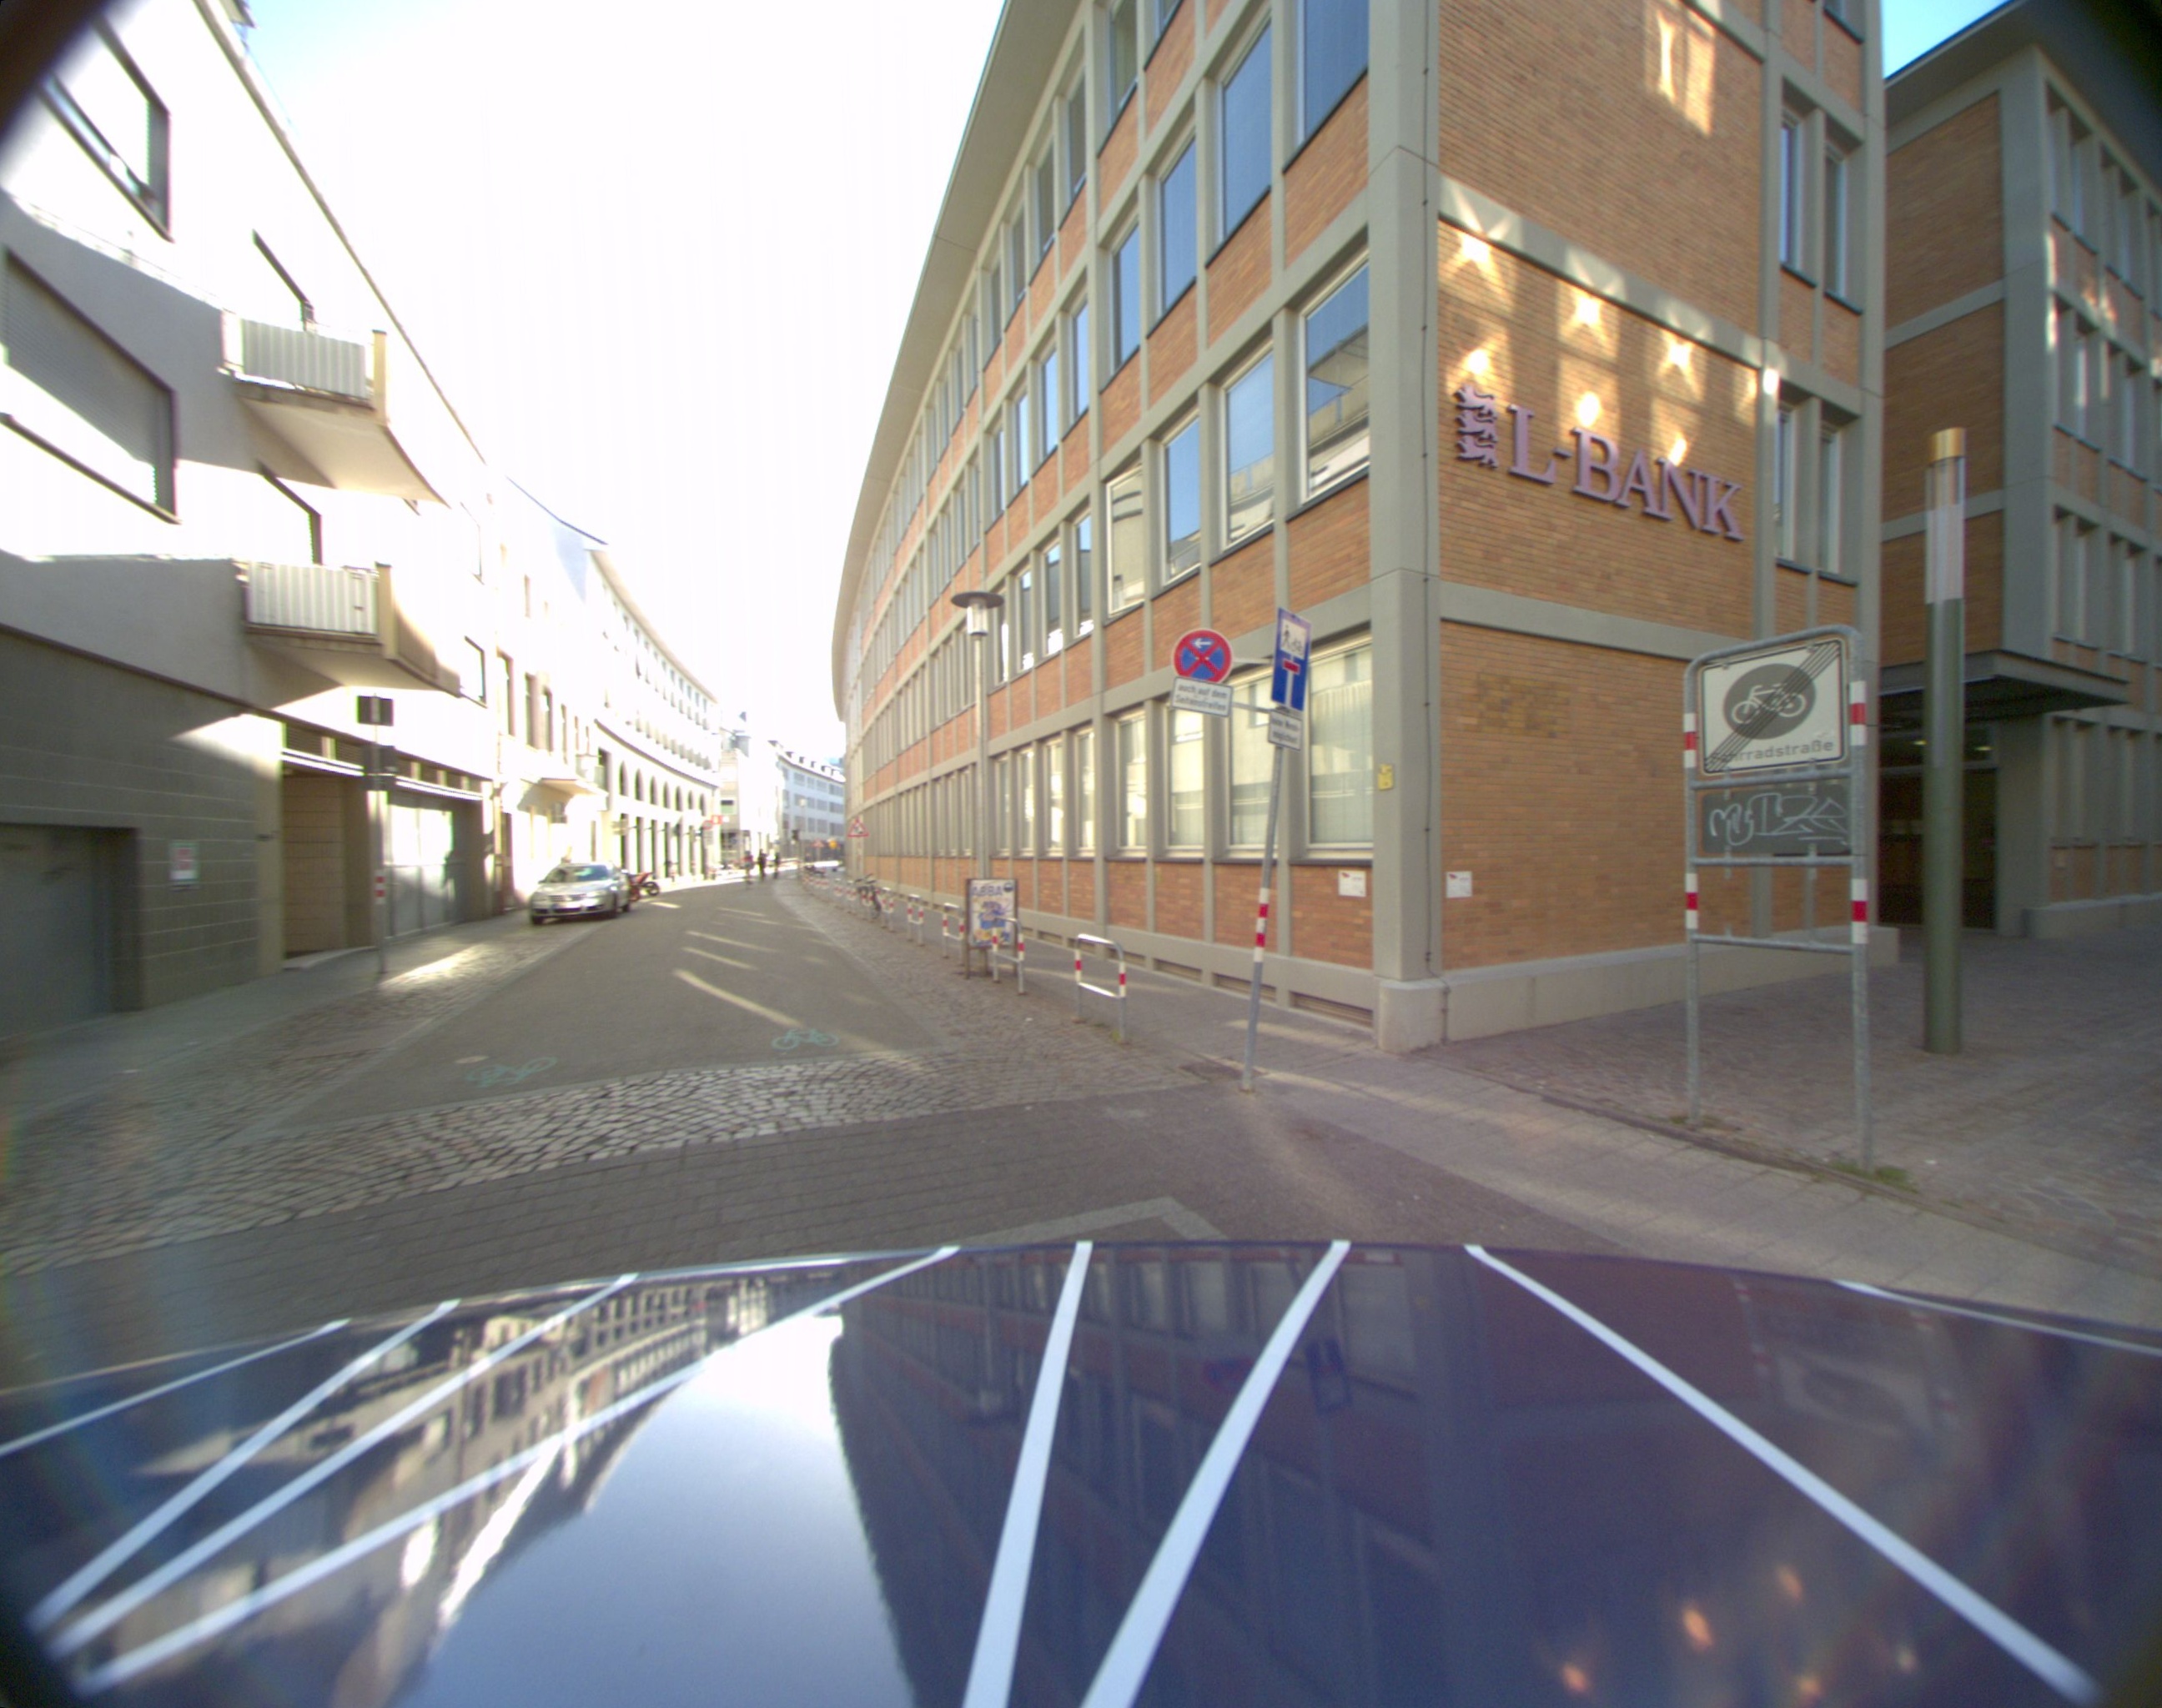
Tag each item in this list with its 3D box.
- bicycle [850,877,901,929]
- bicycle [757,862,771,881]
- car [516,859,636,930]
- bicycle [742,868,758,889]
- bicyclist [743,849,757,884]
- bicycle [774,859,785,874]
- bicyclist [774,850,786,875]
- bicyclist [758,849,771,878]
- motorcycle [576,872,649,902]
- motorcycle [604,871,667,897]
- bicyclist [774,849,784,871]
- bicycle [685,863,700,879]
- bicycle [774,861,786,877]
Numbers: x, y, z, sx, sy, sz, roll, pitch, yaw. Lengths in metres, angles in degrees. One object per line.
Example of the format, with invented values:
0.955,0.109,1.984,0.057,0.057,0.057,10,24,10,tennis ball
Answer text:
-4.734,1.091,17.432,0.629,1.048,1.818,-2,1,-31,bicycle
-17.470,0.955,41.916,0.577,0.955,1.717,-1,1,-19,bicycle
-12.736,0.934,19.417,1.850,1.453,3.990,-3,2,-24,car
-14.517,1.082,33.363,0.525,0.843,1.487,-1,1,-20,bicycle
-14.518,0.551,33.322,0.473,1.495,0.793,-2,2,-21,bicyclist
-21.628,0.893,54.507,0.624,0.955,1.717,-1,1,-19,bicycle
-18.674,0.541,47.150,0.577,1.525,0.814,-1,1,-19,bicyclist
-17.570,0.527,42.147,0.582,1.565,0.690,-2,1,-20,bicyclist
-15.927,1.116,25.879,1.999,0.950,0.644,-1,1,-11,motorcycle
-17.300,1.162,29.539,1.999,0.950,0.644,-1,1,-11,motorcycle
-21.627,0.447,54.440,0.582,1.565,0.691,-2,1,-18,bicyclist
-24.763,1.051,48.413,0.577,0.955,1.717,-1,1,-19,bicycle
-18.679,0.927,47.133,0.577,0.955,1.717,-1,1,-19,bicycle
